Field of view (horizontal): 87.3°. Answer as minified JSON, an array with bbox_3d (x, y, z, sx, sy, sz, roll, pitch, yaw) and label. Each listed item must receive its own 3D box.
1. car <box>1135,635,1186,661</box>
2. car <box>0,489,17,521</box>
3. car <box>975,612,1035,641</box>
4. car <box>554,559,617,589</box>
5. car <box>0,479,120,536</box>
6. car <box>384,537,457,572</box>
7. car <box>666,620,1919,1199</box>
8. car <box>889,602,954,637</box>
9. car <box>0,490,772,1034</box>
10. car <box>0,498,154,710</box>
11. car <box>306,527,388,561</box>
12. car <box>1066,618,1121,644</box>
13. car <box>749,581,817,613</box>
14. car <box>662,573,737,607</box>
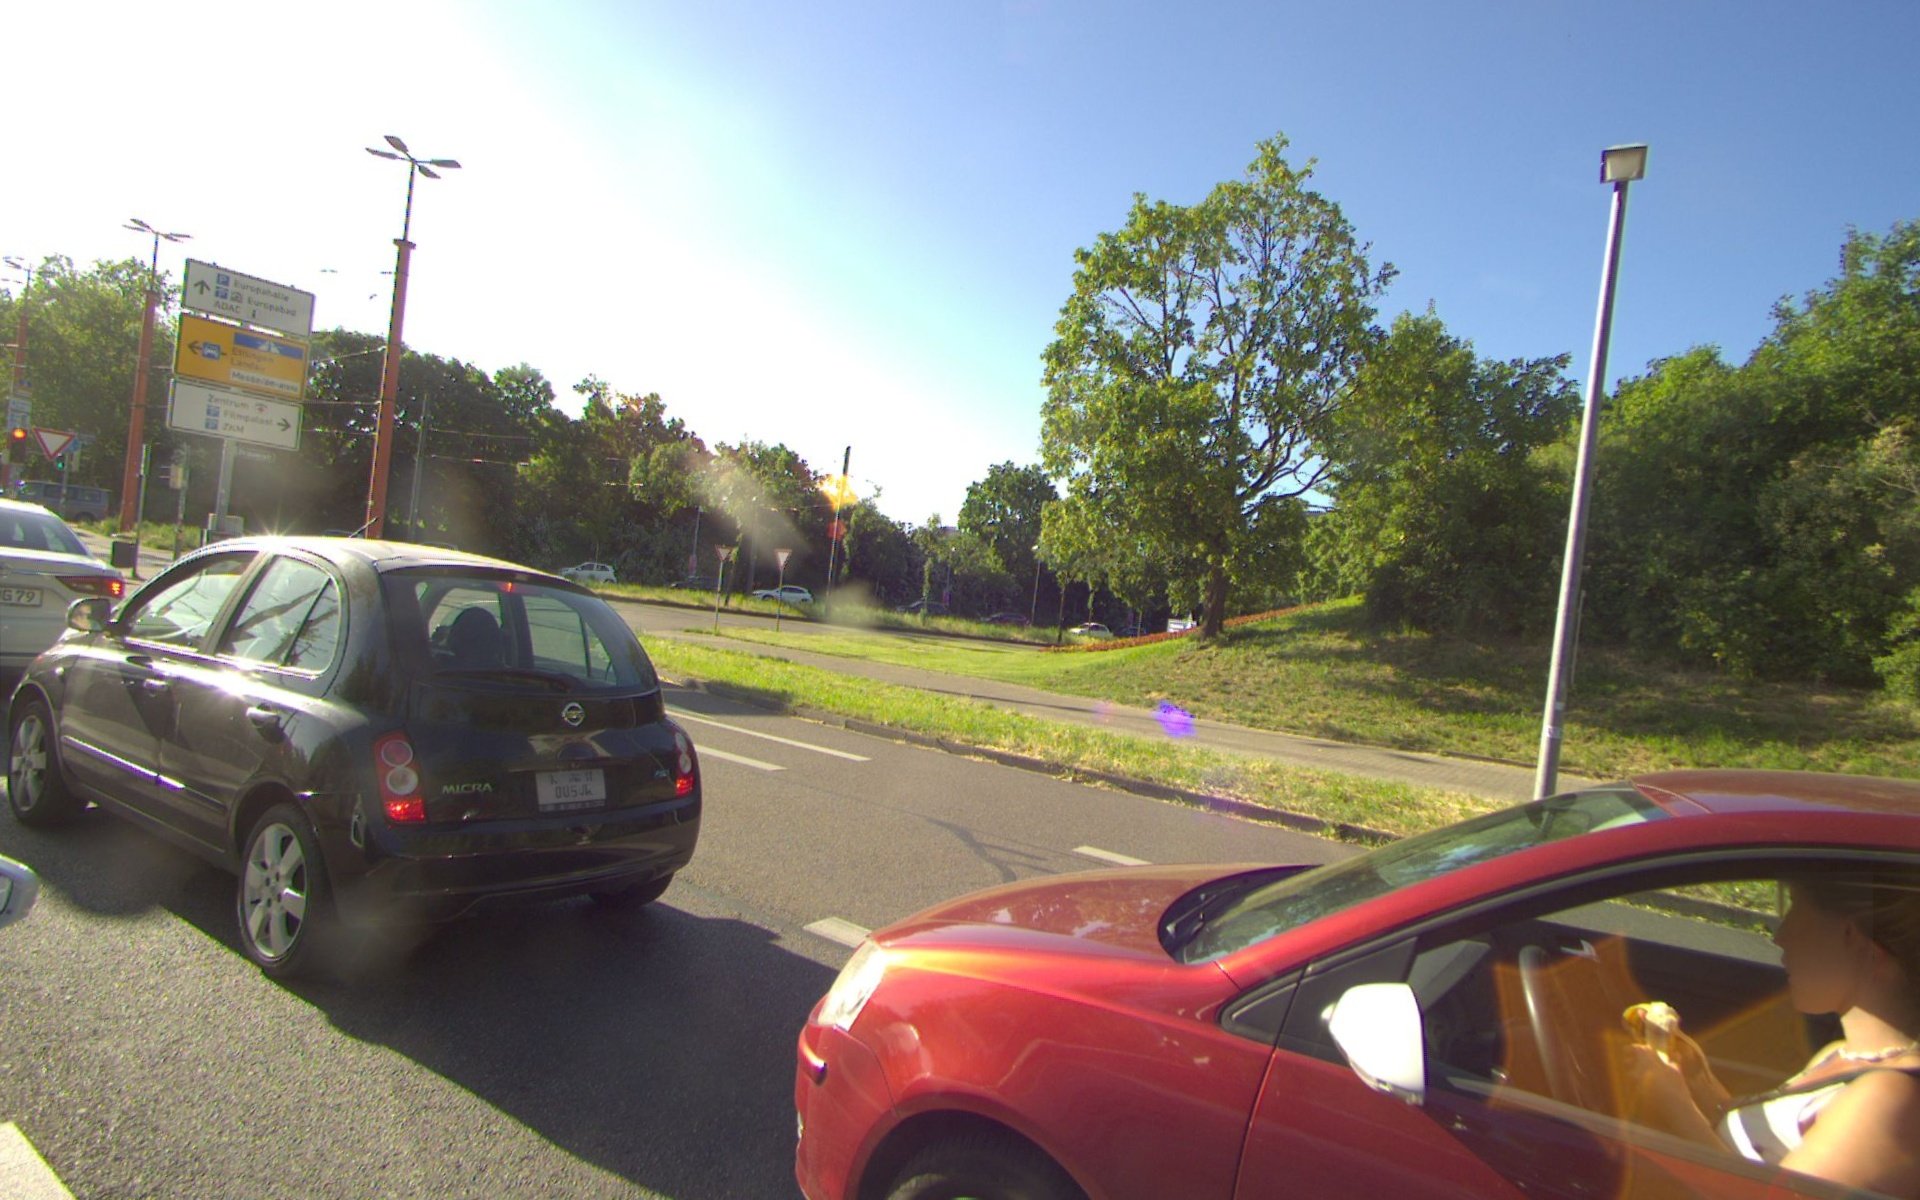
[{"bbox_3d":[17.530,4.192,87.824,3.955,1.693,1.827,9,-2,-28],"label":"car"},{"bbox_3d":[-48.212,-4.840,48.445,3.710,1.491,1.587,8,-1,-32],"label":"car"},{"bbox_3d":[3.586,2.130,79.589,4.257,1.725,1.833,8,-1,-29],"label":"car"},{"bbox_3d":[-23.535,-1.646,63.284,3.413,1.384,1.280,9,-2,-31],"label":"car"},{"bbox_3d":[-43.203,-4.389,47.856,4.535,2.038,1.985,8,-1,-30],"label":"car"},{"bbox_3d":[-29.866,-2.498,55.721,3.371,1.475,1.452,8,-1,-32],"label":"car"},{"bbox_3d":[1.399,1.011,1.871,3.700,1.455,1.644,6,-2,33],"label":"car"},{"bbox_3d":[-2.754,1.405,71.962,4.169,1.906,1.750,8,-1,-35],"label":"car"},{"bbox_3d":[-2.845,0.467,4.706,3.555,1.518,1.657,7,-2,32],"label":"car"},{"bbox_3d":[-8.354,-0.171,8.016,4.130,1.454,1.723,7,-1,33],"label":"car"},{"bbox_3d":[-34.534,-3.116,56.702,3.805,1.278,1.590,9,-3,-33],"label":"car"},{"bbox_3d":[10.634,2.464,79.962,3.970,1.546,1.694,8,-1,-30],"label":"car"},{"bbox_3d":[-12.307,-0.212,70.019,4.195,1.701,1.690,8,-1,-29],"label":"car"},{"bbox_3d":[-16.354,-0.624,63.145,4.000,1.615,1.981,8,-1,-35],"label":"car"}]
